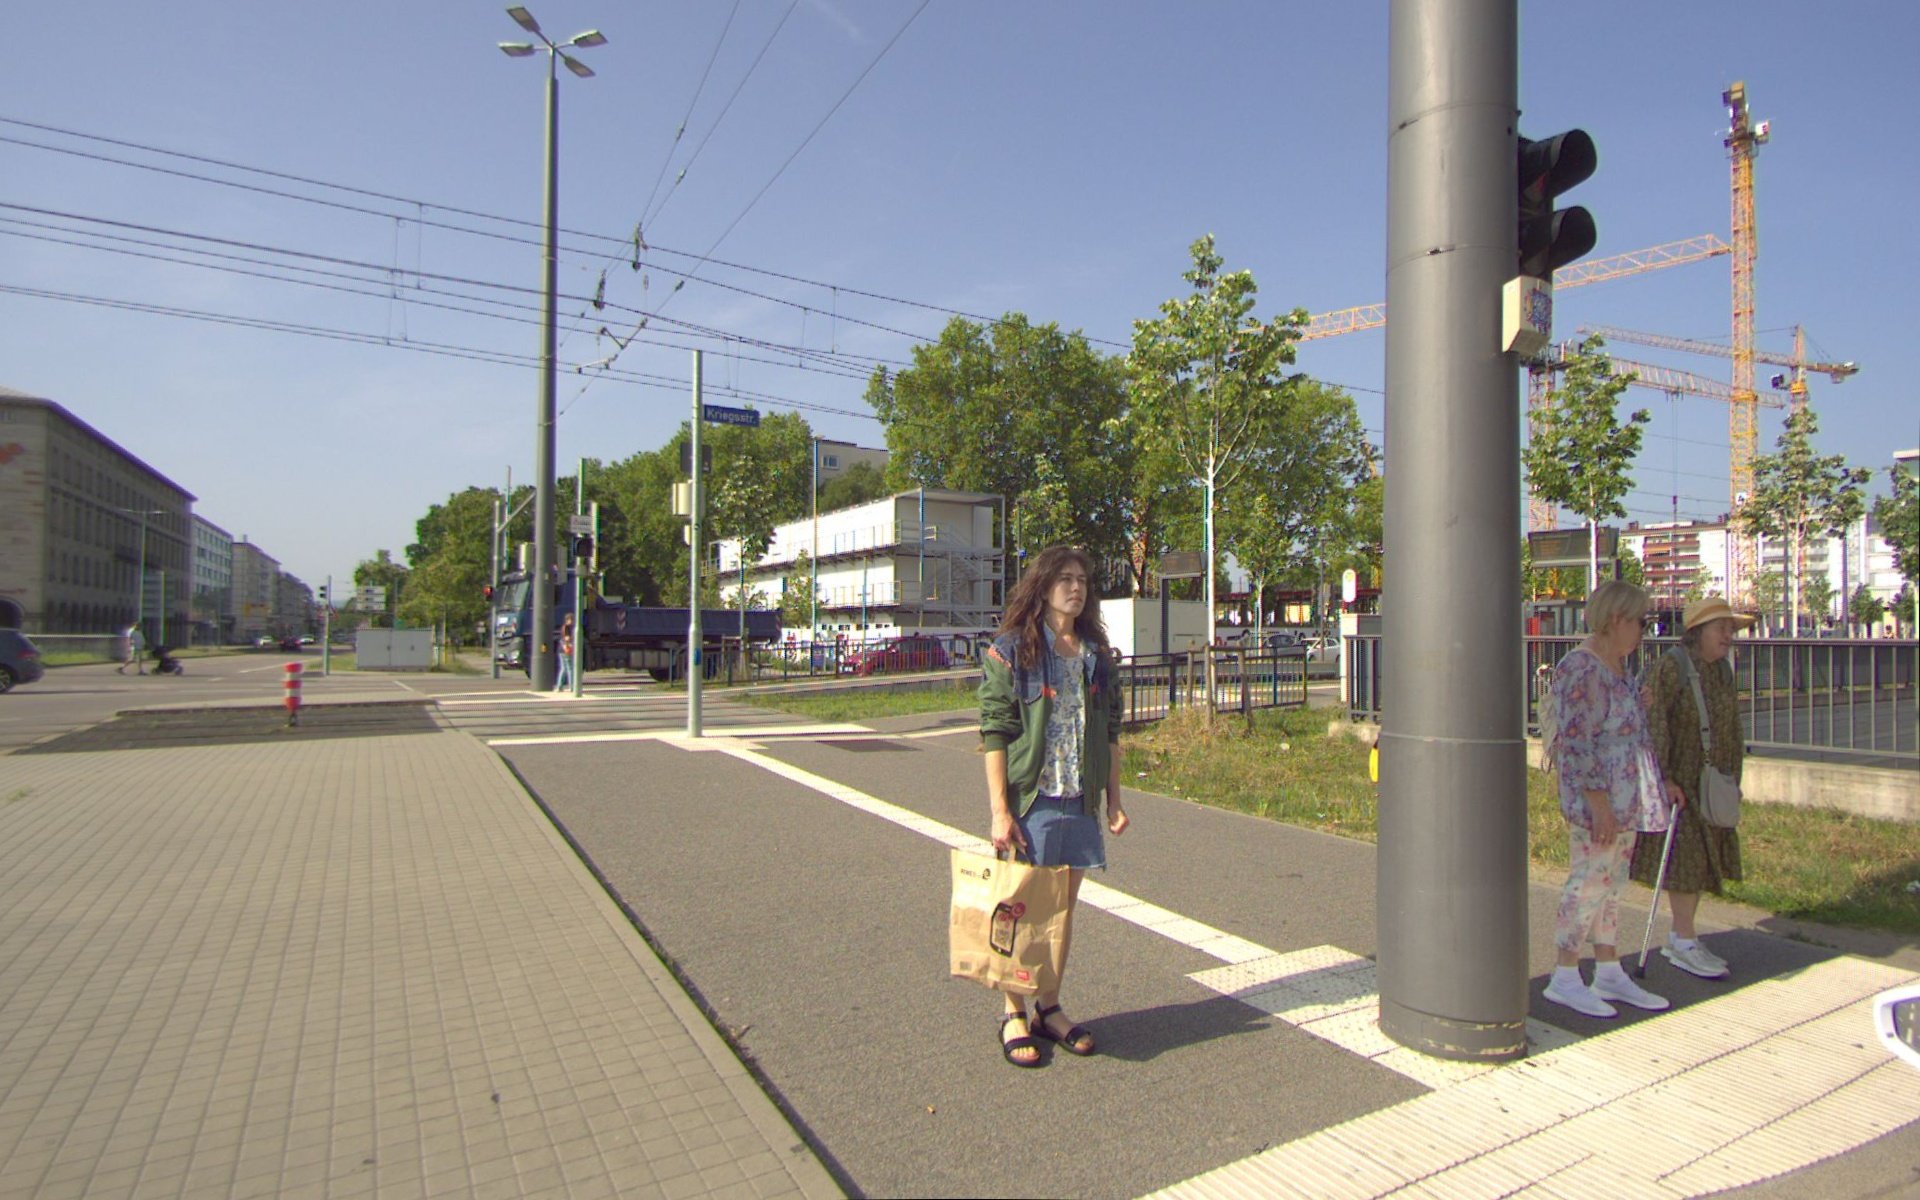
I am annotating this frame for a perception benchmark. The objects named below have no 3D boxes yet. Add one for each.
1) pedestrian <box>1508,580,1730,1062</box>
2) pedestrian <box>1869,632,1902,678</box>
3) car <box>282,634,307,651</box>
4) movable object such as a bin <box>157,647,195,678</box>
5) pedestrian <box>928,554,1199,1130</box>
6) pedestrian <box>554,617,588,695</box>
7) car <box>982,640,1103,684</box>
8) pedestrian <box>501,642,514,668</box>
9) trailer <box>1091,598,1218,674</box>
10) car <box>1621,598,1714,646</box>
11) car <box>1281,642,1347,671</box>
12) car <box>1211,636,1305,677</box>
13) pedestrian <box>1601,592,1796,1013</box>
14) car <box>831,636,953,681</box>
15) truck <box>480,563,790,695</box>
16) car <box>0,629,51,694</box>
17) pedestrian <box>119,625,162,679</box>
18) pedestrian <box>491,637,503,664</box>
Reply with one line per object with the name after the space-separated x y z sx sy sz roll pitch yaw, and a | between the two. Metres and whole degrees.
2.566 0.777 3.907 0.769 1.671 0.464 1 -1 -34 | pedestrian
33.041 1.957 35.868 0.703 1.640 0.731 2 -2 -34 | pedestrian
-68.423 4.333 103.278 1.866 1.741 3.968 1 -2 -30 | car
-26.453 2.100 33.895 0.897 1.027 0.561 1 -2 -30 | movable object such as a bin
0.348 0.713 3.338 0.769 1.671 0.464 1 -1 -34 | pedestrian
-8.536 1.228 22.046 0.630 1.698 0.370 1 -1 -17 | pedestrian
3.016 2.206 36.259 4.360 1.489 1.632 2 -2 -36 | car
-22.135 2.702 49.140 0.532 1.233 0.440 2 0 -32 | pedestrian
7.773 1.437 40.005 4.971 2.817 2.031 2 -1 -35 | trailer
55.450 1.745 78.651 9.141 3.559 3.034 2 -1 -35 | car
18.751 2.994 53.185 3.398 1.482 1.587 2 -2 -34 | car
13.032 2.438 43.826 4.107 1.684 1.710 2 -2 -34 | car
3.245 0.814 4.411 0.769 1.671 0.464 1 -1 -34 | pedestrian
-2.211 1.884 32.988 3.665 1.379 1.708 2 -2 -38 | car
-9.989 0.920 31.634 8.814 3.634 2.998 2 -2 -39 | truck
-21.820 1.288 20.798 4.391 1.365 1.581 2 -2 -42 | car
-27.225 1.732 33.384 0.994 1.756 0.557 2 -2 -30 | pedestrian
-29.713 3.243 64.455 0.535 1.731 0.588 1 -2 -35 | pedestrian
